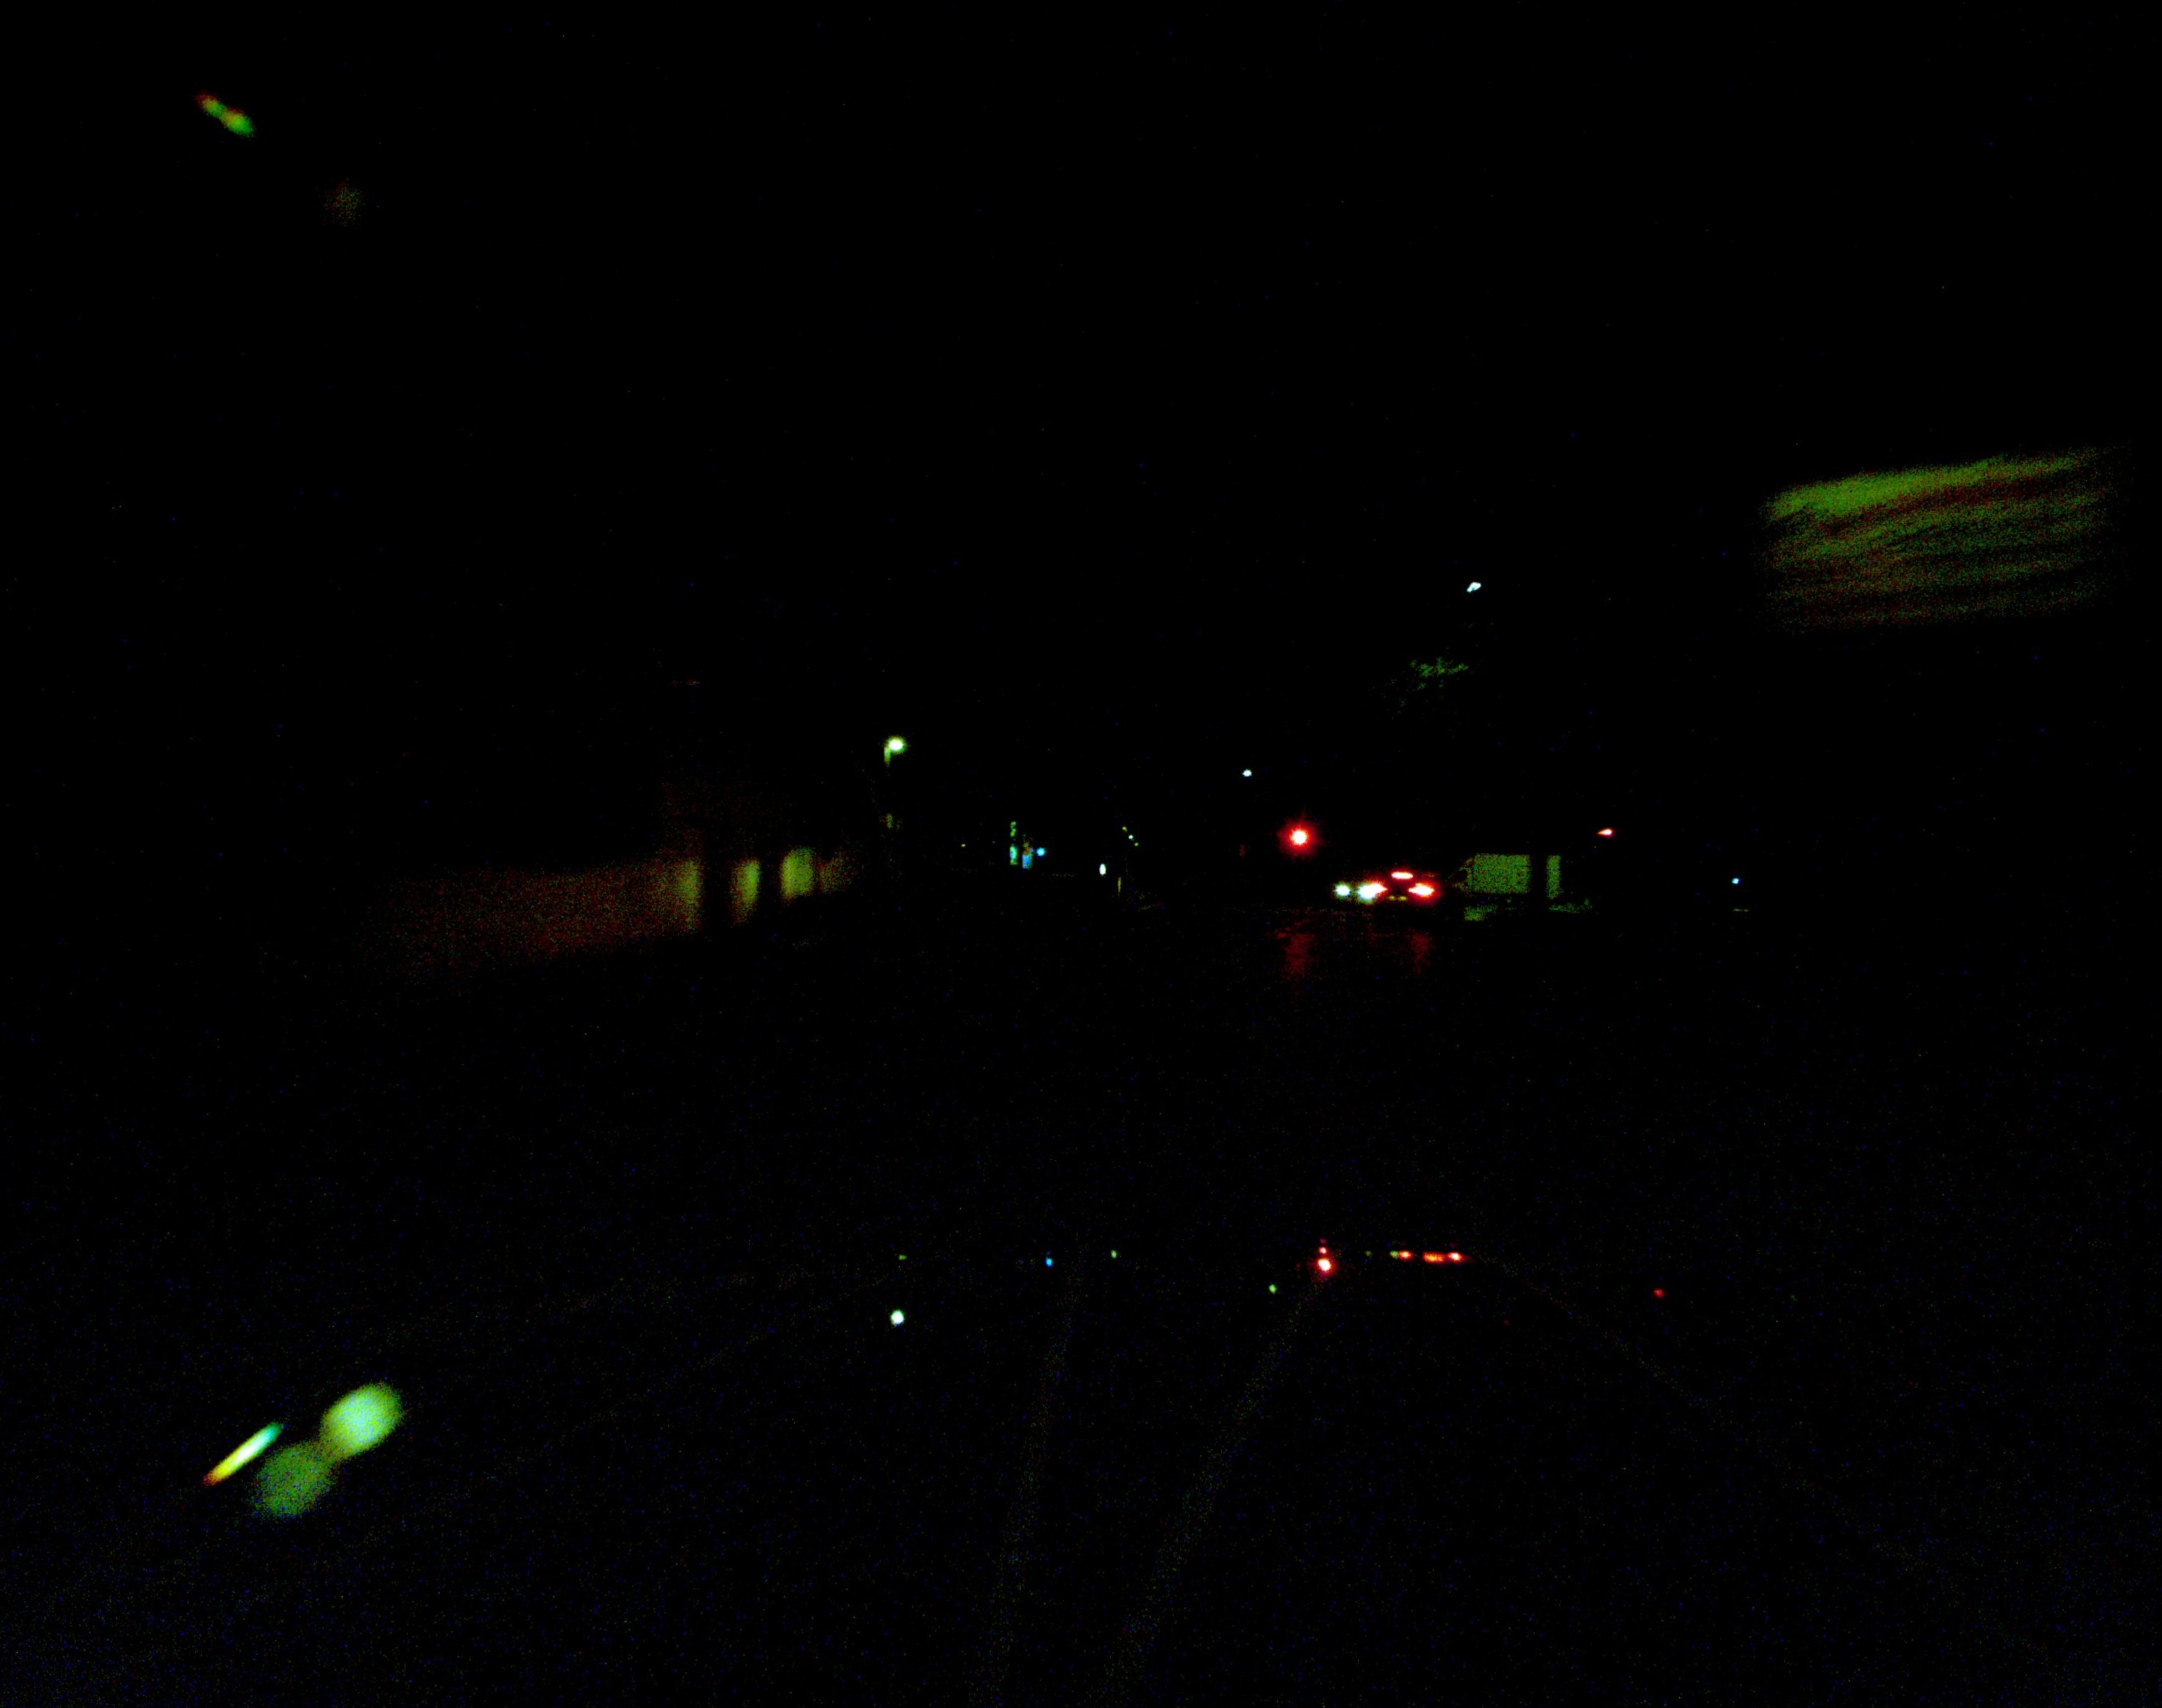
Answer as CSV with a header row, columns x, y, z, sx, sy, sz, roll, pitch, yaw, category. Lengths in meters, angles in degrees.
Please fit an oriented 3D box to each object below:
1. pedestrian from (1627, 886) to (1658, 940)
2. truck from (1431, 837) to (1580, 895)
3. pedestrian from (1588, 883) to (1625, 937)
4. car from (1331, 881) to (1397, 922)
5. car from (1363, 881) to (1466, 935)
x,y,z,sx,sy,sz,roll,pitch,yaw,category
18.989,1.988,25.689,0.693,1.781,0.522,3,0,-25,pedestrian
24.568,0.573,44.261,2.778,3.028,7.014,-2,3,-43,truck
17.847,1.889,25.788,0.967,1.759,0.726,3,0,-39,pedestrian
11.247,1.848,30.131,1.509,1.492,3.057,2,-1,39,car
9.991,1.593,22.584,1.726,1.421,4.301,1,-3,38,car
